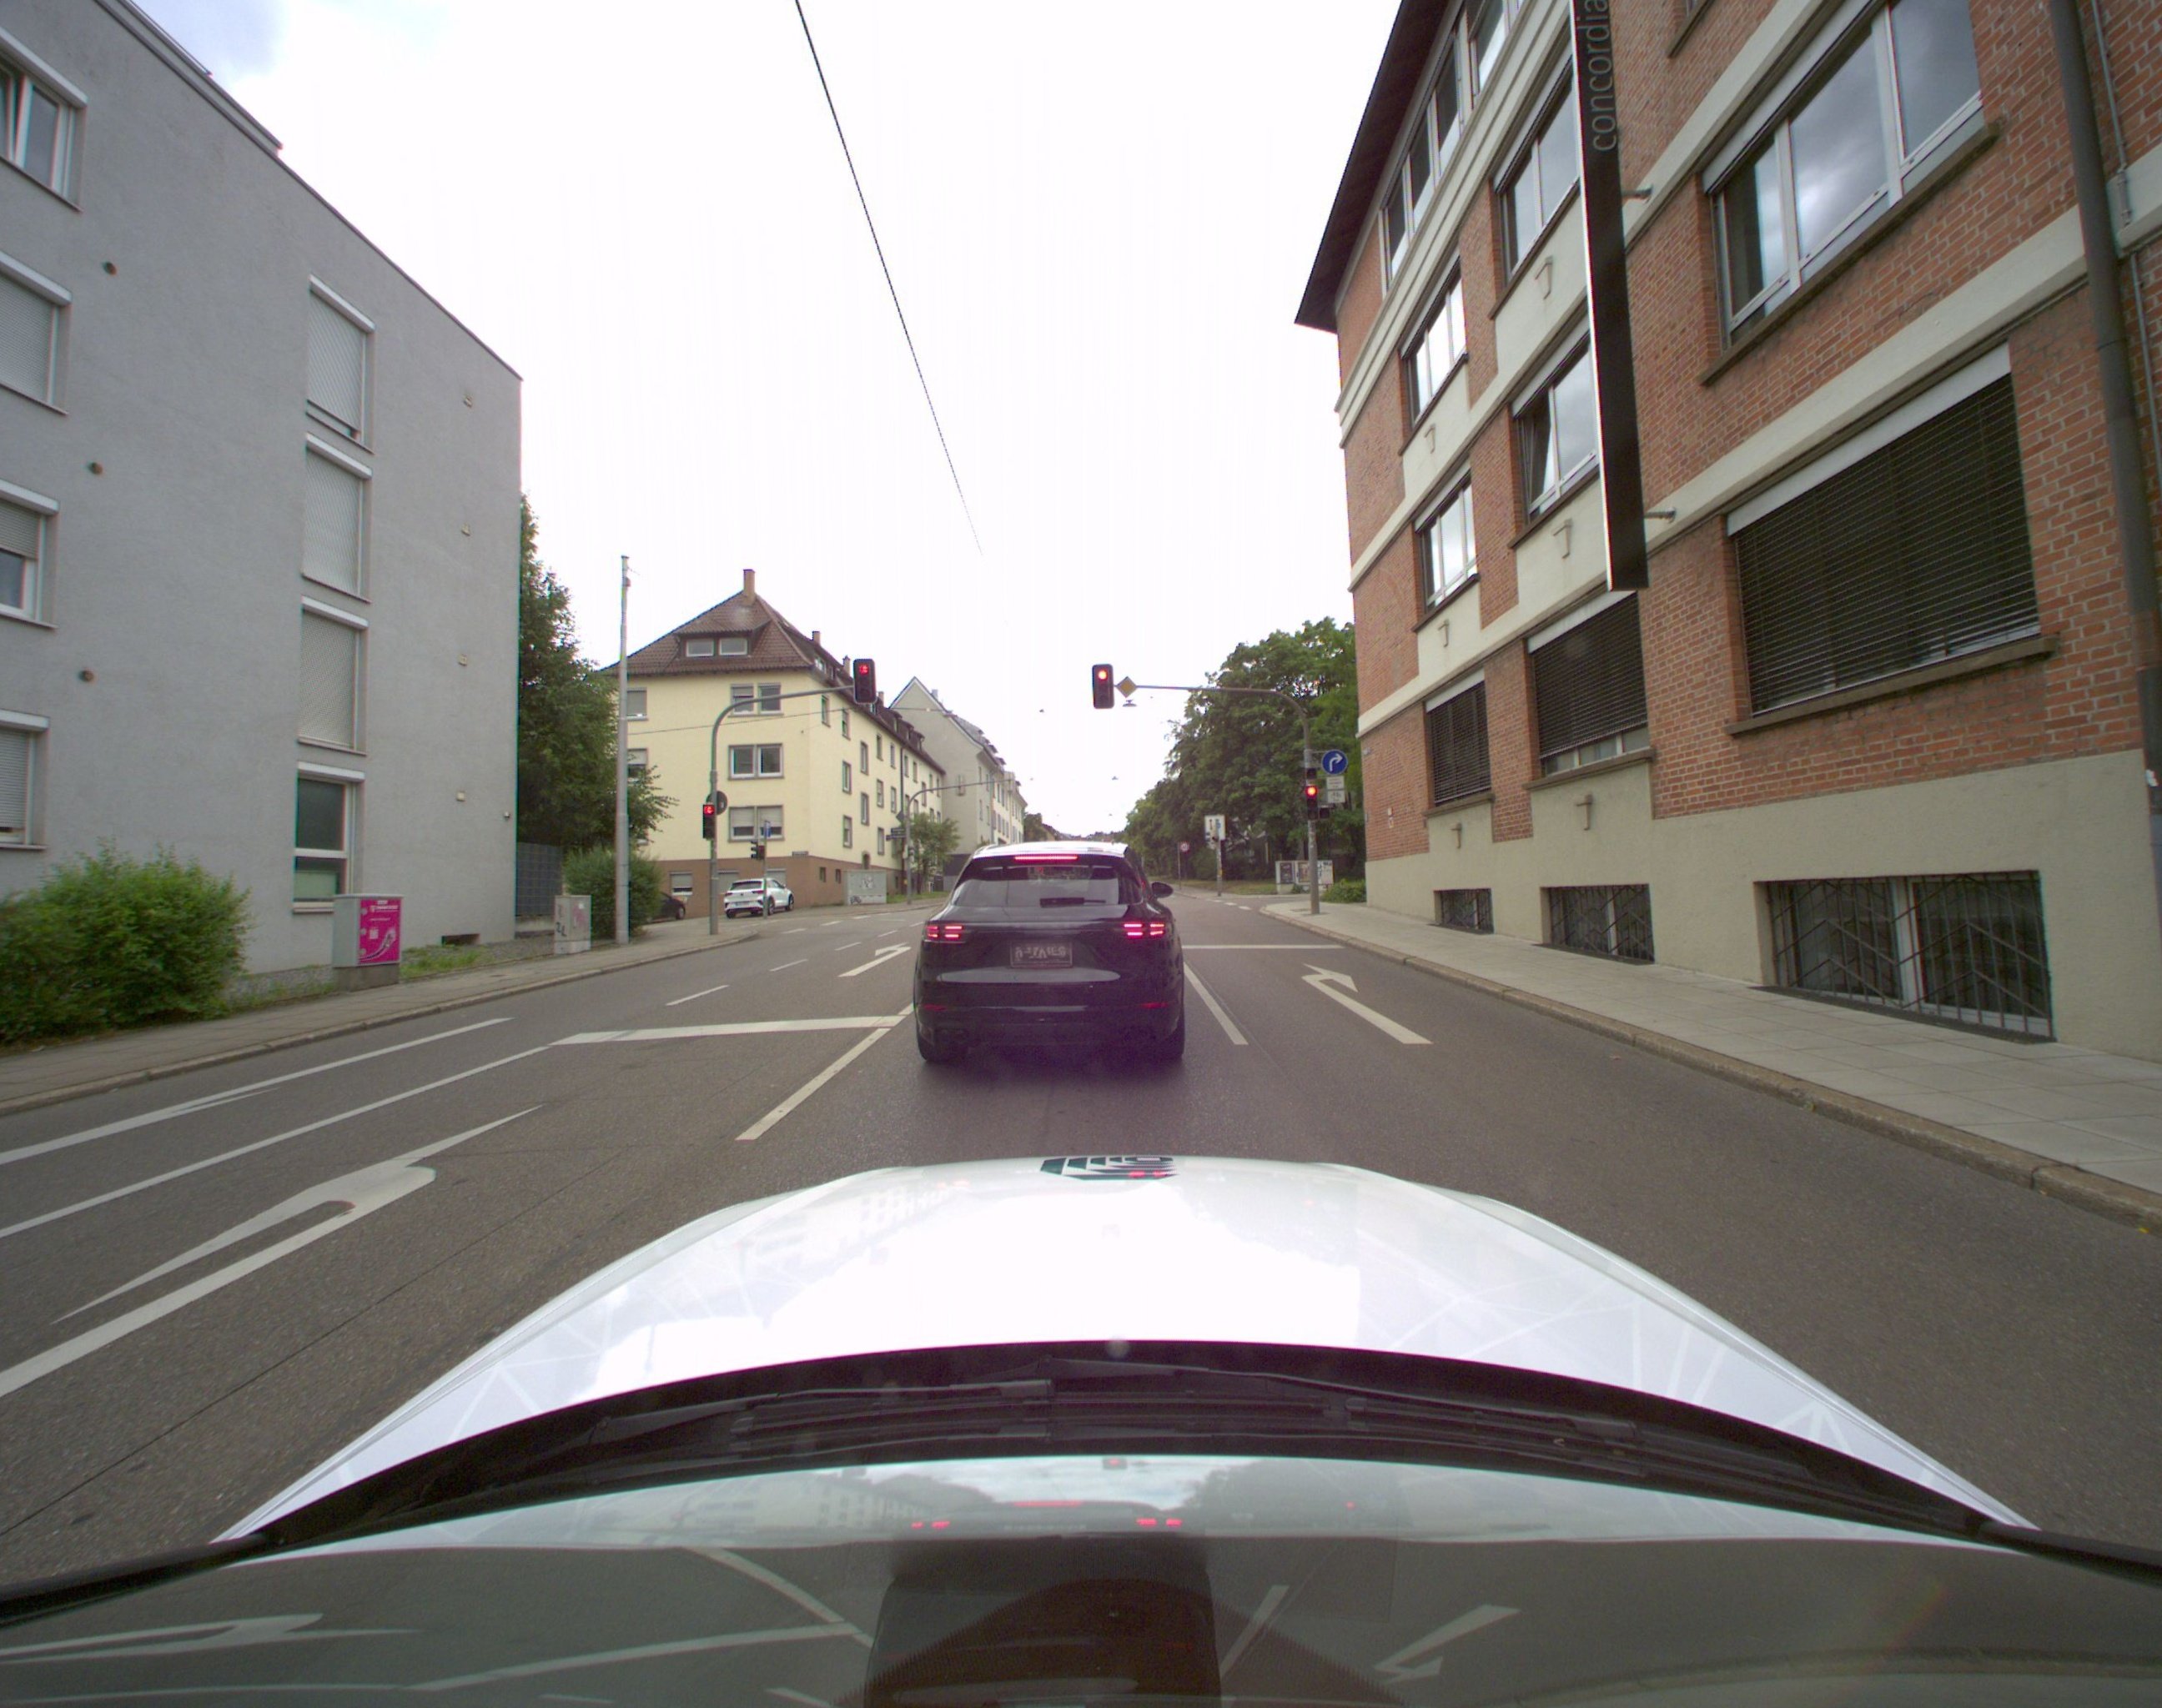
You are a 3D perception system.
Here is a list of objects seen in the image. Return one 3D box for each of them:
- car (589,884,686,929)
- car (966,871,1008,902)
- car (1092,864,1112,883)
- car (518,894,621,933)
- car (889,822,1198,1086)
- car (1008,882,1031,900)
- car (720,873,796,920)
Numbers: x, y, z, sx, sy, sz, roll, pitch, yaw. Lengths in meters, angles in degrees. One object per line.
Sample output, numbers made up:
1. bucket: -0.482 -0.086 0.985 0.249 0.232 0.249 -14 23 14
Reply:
1. car: -18.601 2.160 34.372 1.664 1.546 4.103 -5 -1 2
2. car: -5.224 1.794 45.807 1.657 1.519 3.742 -5 -1 2
3. car: 1.849 1.700 72.288 1.683 1.552 3.888 0 -1 0
4. car: -21.303 2.439 34.104 1.663 1.362 4.001 -1 -1 2
5. car: -0.182 0.665 7.269 1.986 1.697 4.001 0 -1 2
6. car: -5.217 3.135 69.606 1.665 1.362 3.998 -1 -1 -1
7. car: -13.541 1.735 34.393 1.666 1.662 3.996 -4 0 -3
